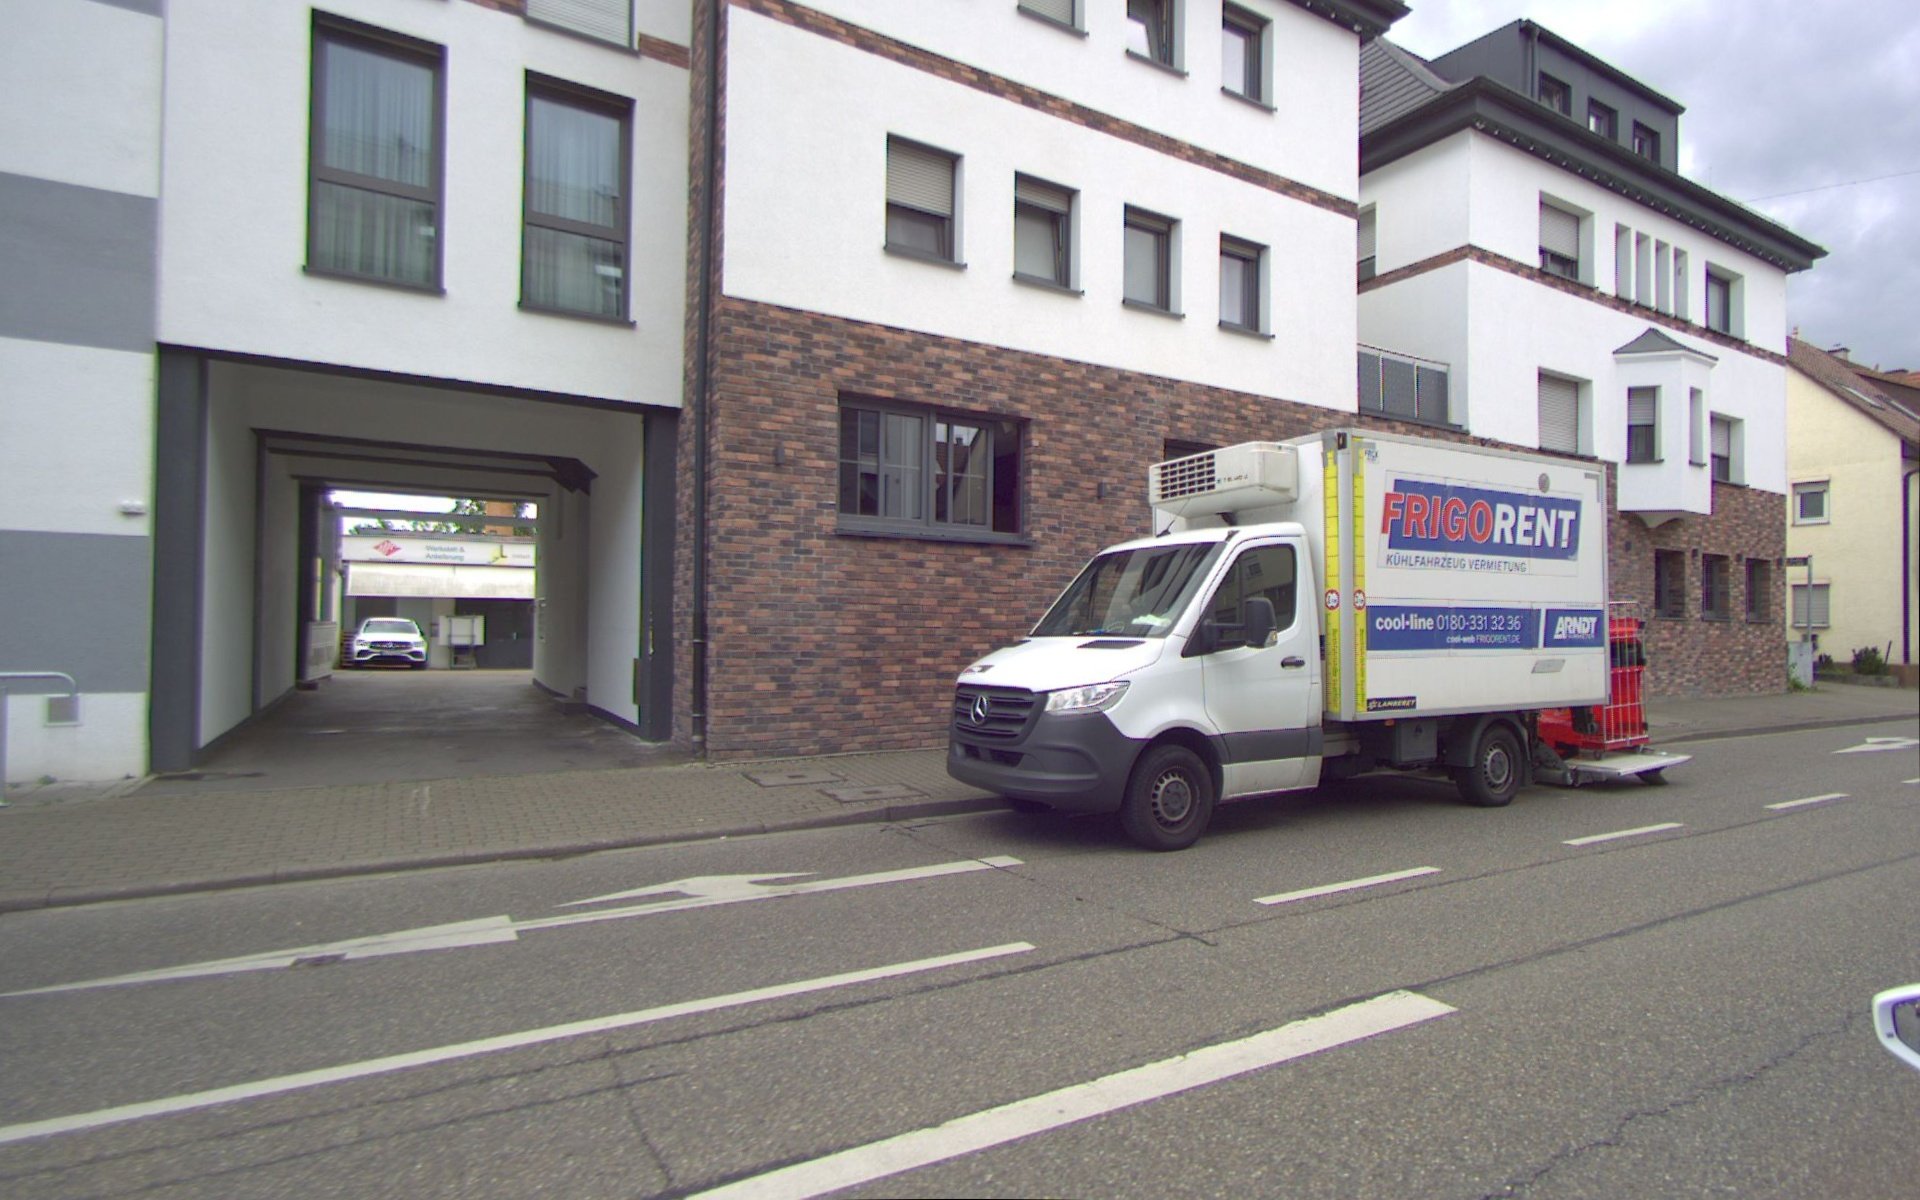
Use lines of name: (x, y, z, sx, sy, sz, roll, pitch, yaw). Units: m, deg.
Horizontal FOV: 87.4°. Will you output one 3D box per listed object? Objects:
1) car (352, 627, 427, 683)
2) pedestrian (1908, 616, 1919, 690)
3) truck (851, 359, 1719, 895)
car: (-17.277, 1.625, 30.348, 1.733, 1.560, 3.964, 1, -2, -33)
pedestrian: (23.542, 1.287, 24.333, 0.679, 1.780, 0.645, 1, 1, -30)
truck: (3.301, 0.281, 8.805, 8.269, 2.992, 2.423, 1, -3, -31)
